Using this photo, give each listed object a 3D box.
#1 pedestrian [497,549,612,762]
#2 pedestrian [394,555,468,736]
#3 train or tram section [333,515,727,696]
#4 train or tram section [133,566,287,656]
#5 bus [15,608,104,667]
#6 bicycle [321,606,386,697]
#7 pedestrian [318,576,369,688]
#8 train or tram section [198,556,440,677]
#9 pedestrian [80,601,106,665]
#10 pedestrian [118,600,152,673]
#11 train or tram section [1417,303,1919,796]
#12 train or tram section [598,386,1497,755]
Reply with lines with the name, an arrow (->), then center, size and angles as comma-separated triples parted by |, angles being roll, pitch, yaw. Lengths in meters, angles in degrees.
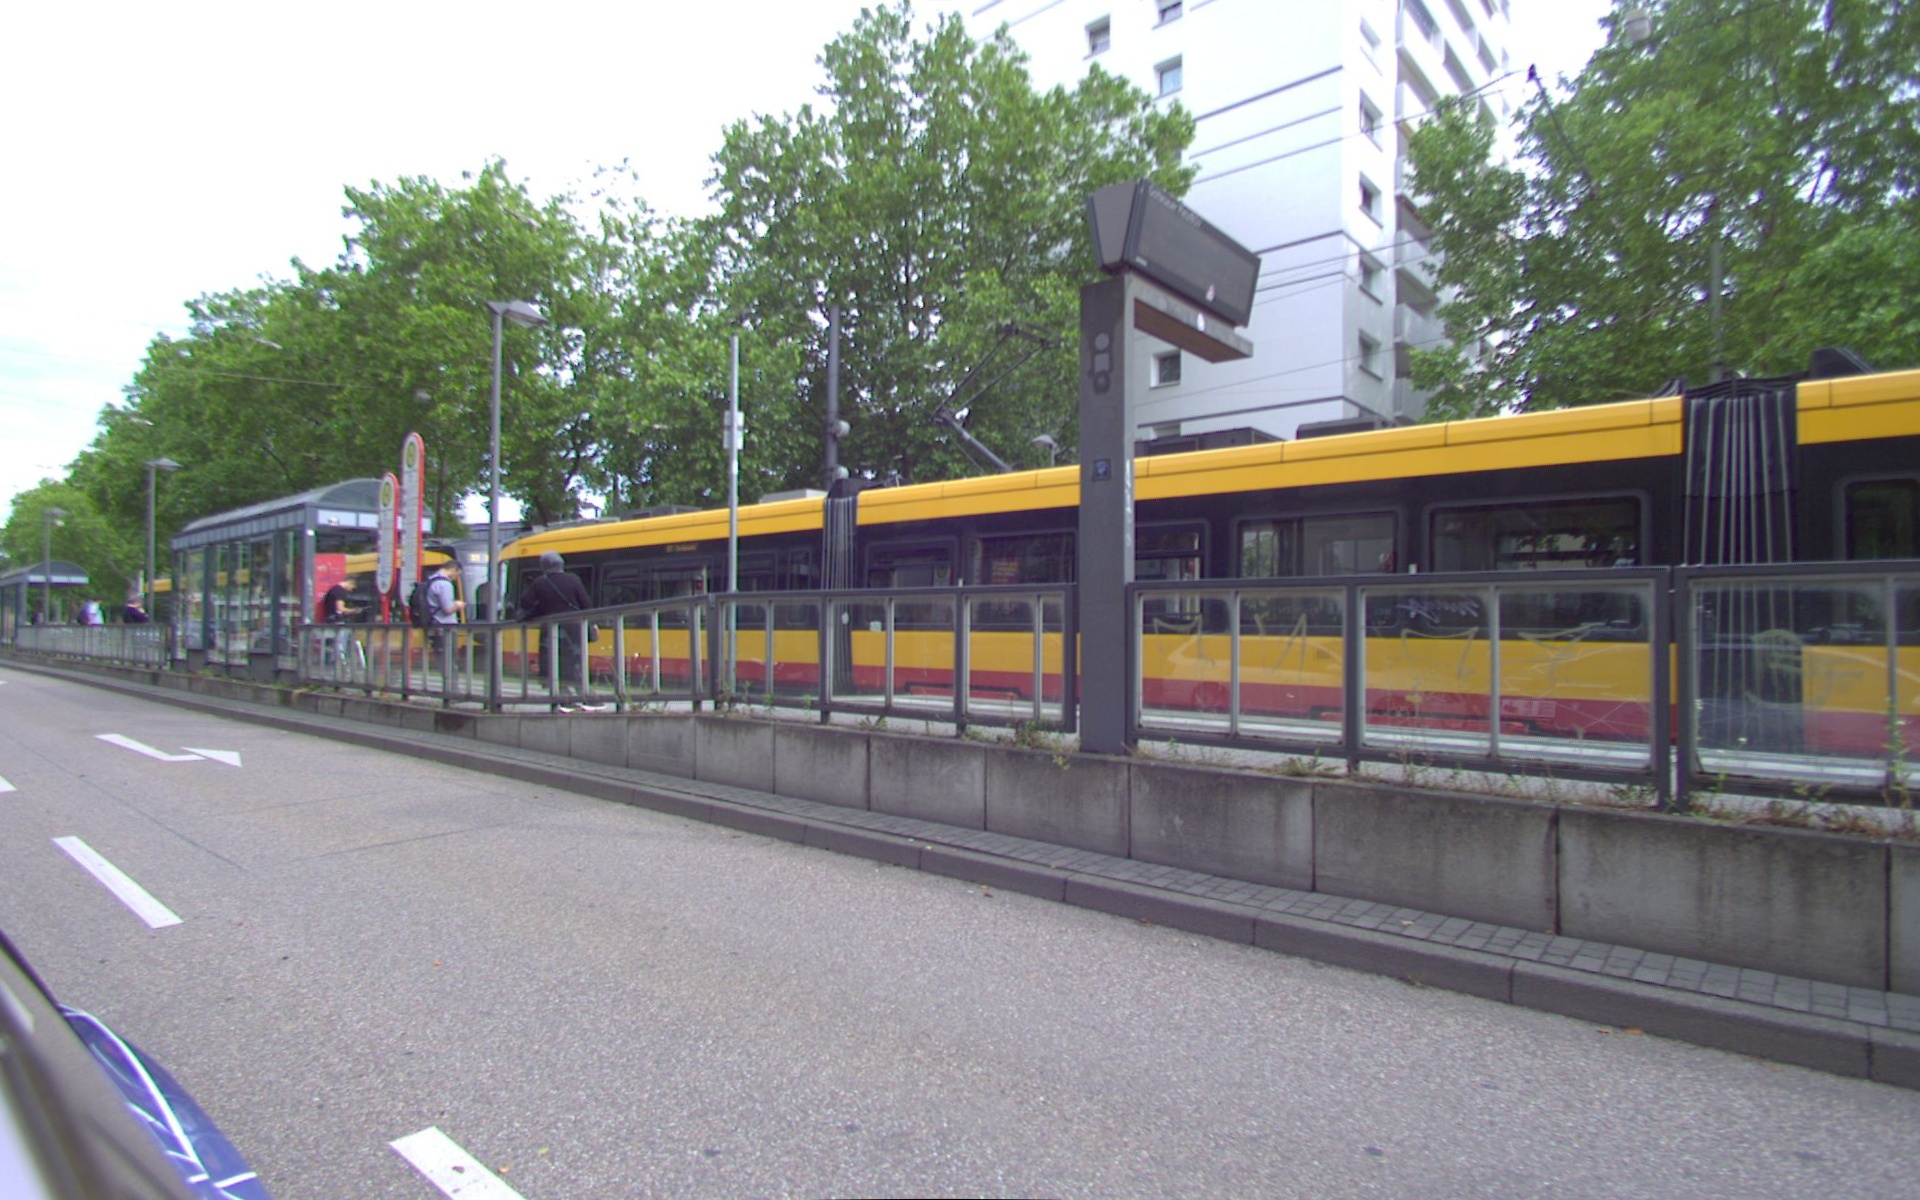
pedestrian -> -4.024, 0.537, 10.086 | 0.808, 2.029, 0.754 | -1, -1, 4
pedestrian -> -6.207, 0.511, 11.910 | 0.742, 2.029, 0.821 | 0, -1, -26
train or tram section -> -11.842, 0.230, 26.062 | 15.287, 3.558, 3.028 | -1, -1, 41
train or tram section -> -34.097, 0.531, 45.687 | 12.533, 3.589, 3.060 | -1, -1, 42
bus -> -32.993, 1.346, 37.063 | 3.998, 2.029, 1.973 | -1, -1, 41
bicycle -> -8.659, 0.715, 14.430 | 1.289, 1.231, 0.414 | -1, -1, 41
pedestrian -> -9.285, 0.479, 15.249 | 0.471, 1.645, 0.526 | -1, -1, 39
train or tram section -> -23.495, 0.605, 36.302 | 15.764, 3.558, 3.028 | -1, -1, 41
pedestrian -> -22.417, 0.851, 26.158 | 0.392, 1.645, 0.474 | -1, -1, 42
pedestrian -> -18.888, 0.822, 23.173 | 0.730, 1.645, 0.506 | -1, -1, 43
train or tram section -> 11.348, -0.443, 5.648 | 15.841, 3.616, 3.028 | -1, -1, 41
train or tram section -> -0.361, -0.171, 15.947 | 15.287, 3.558, 3.028 | -1, -1, 41
